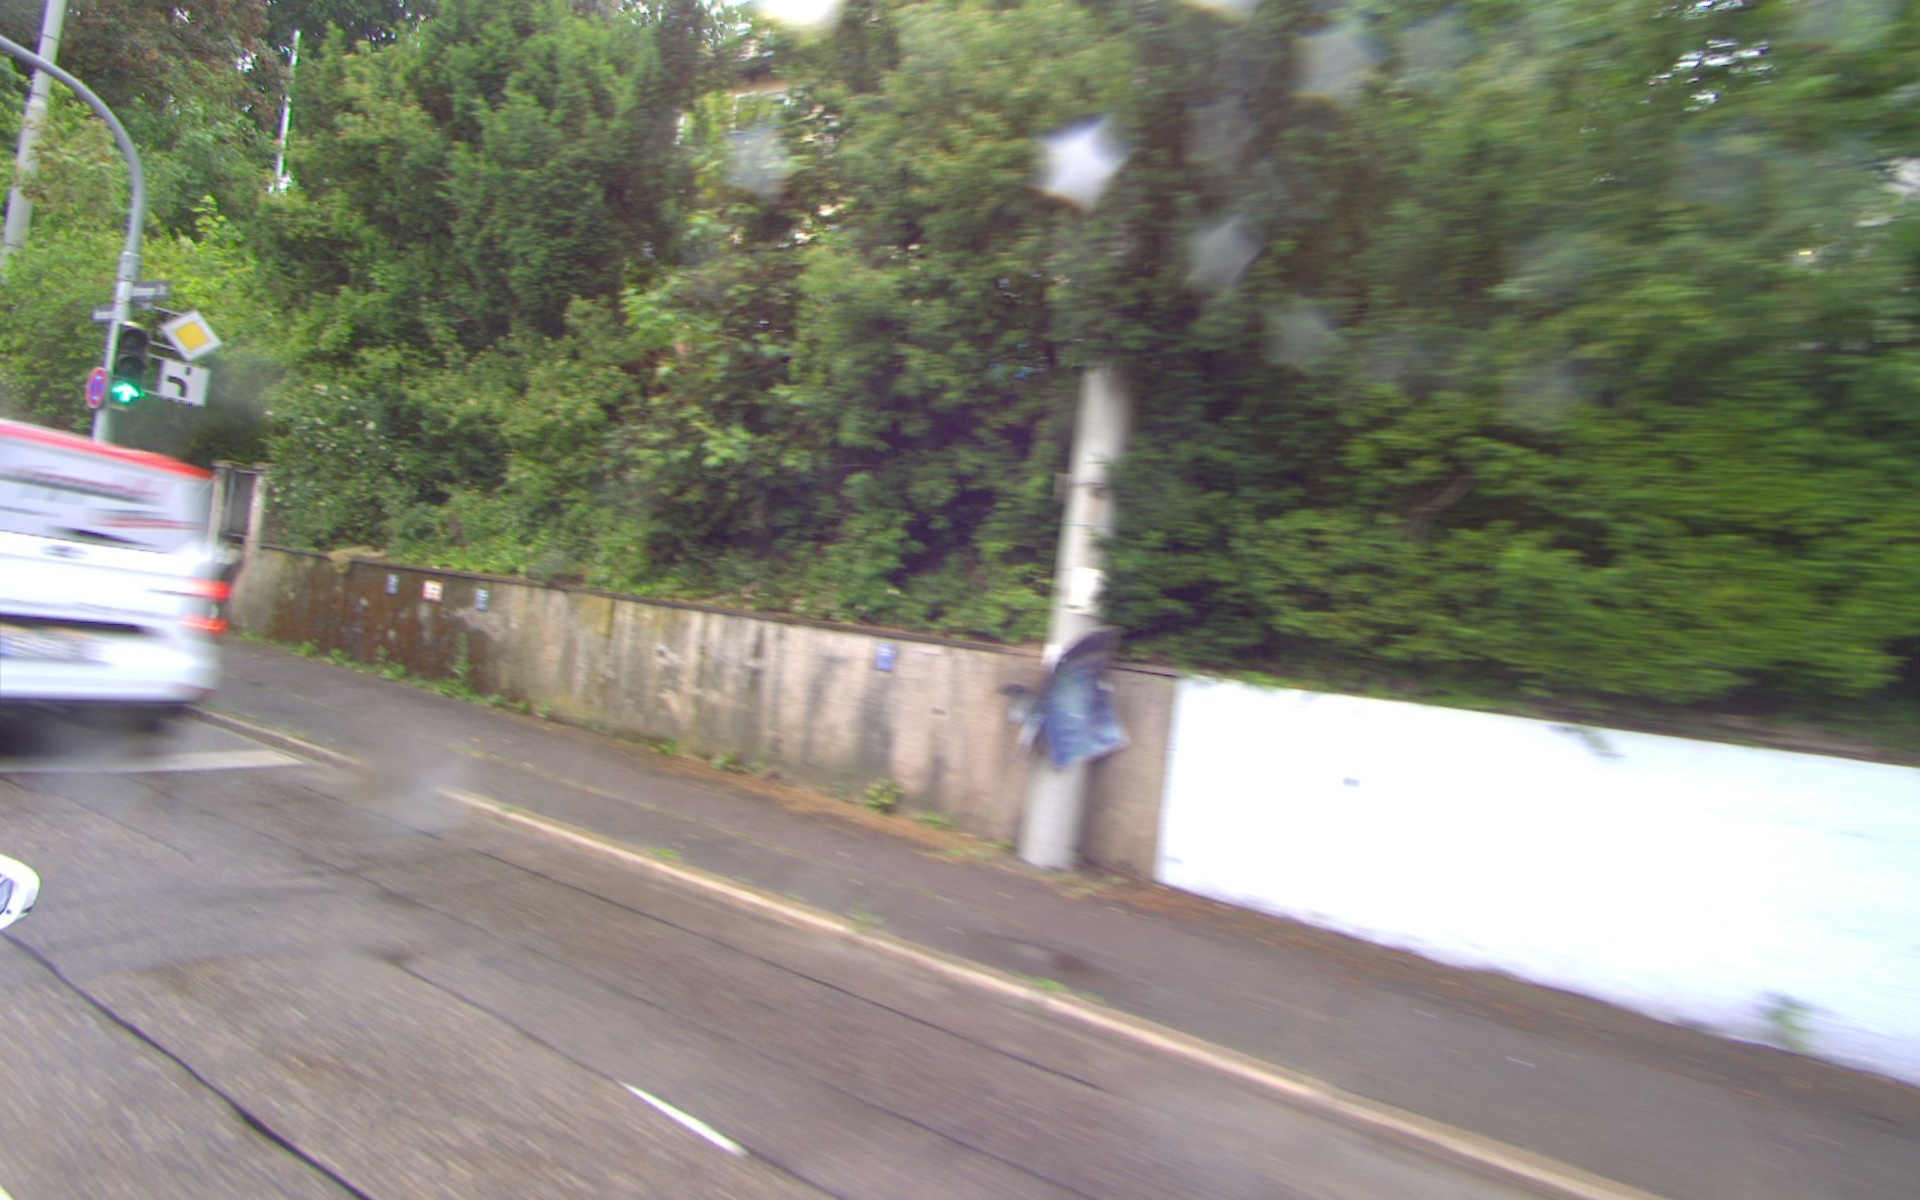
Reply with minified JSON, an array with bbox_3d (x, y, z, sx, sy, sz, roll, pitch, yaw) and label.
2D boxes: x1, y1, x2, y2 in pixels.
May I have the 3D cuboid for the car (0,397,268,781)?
[{"bbox_3d":[-7.082,-0.318,6.541,4.729,2.030,2.072,8,0,27],"label":"car"}]
